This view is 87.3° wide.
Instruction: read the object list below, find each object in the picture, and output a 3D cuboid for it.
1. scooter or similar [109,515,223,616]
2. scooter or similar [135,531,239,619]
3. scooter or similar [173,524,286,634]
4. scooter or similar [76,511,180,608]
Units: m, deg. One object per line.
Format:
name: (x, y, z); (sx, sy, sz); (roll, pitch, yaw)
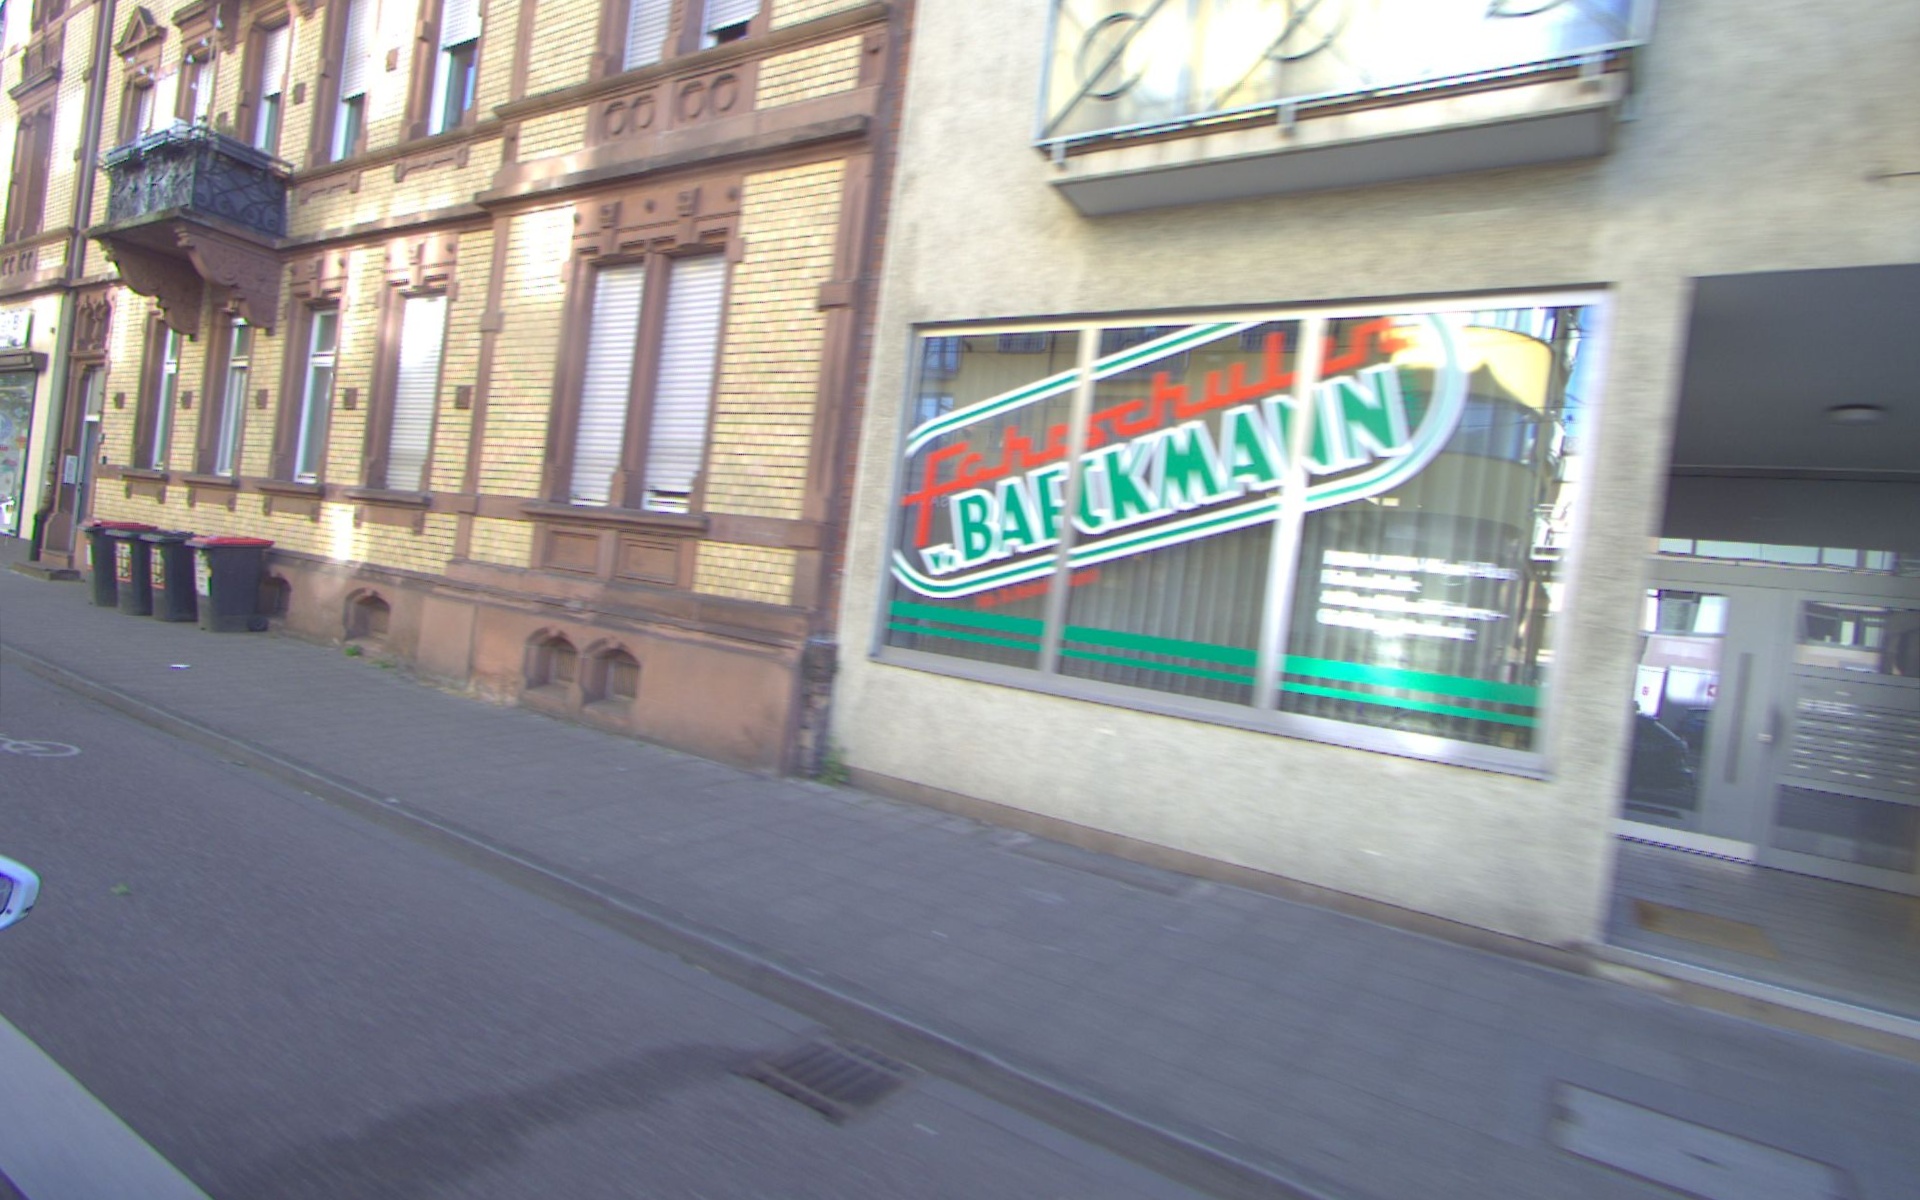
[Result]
scooter or similar: (-9.856, -0.414, 12.501); (0.639, 1.164, 0.933); (7, 4, 31)
scooter or similar: (-9.317, -0.296, 12.133); (0.669, 0.971, 0.790); (7, 4, 31)
scooter or similar: (-8.459, -0.244, 11.657); (0.777, 1.164, 0.790); (7, 4, 31)
scooter or similar: (-10.750, -0.515, 13.012); (0.538, 1.165, 0.897); (7, 5, 31)
